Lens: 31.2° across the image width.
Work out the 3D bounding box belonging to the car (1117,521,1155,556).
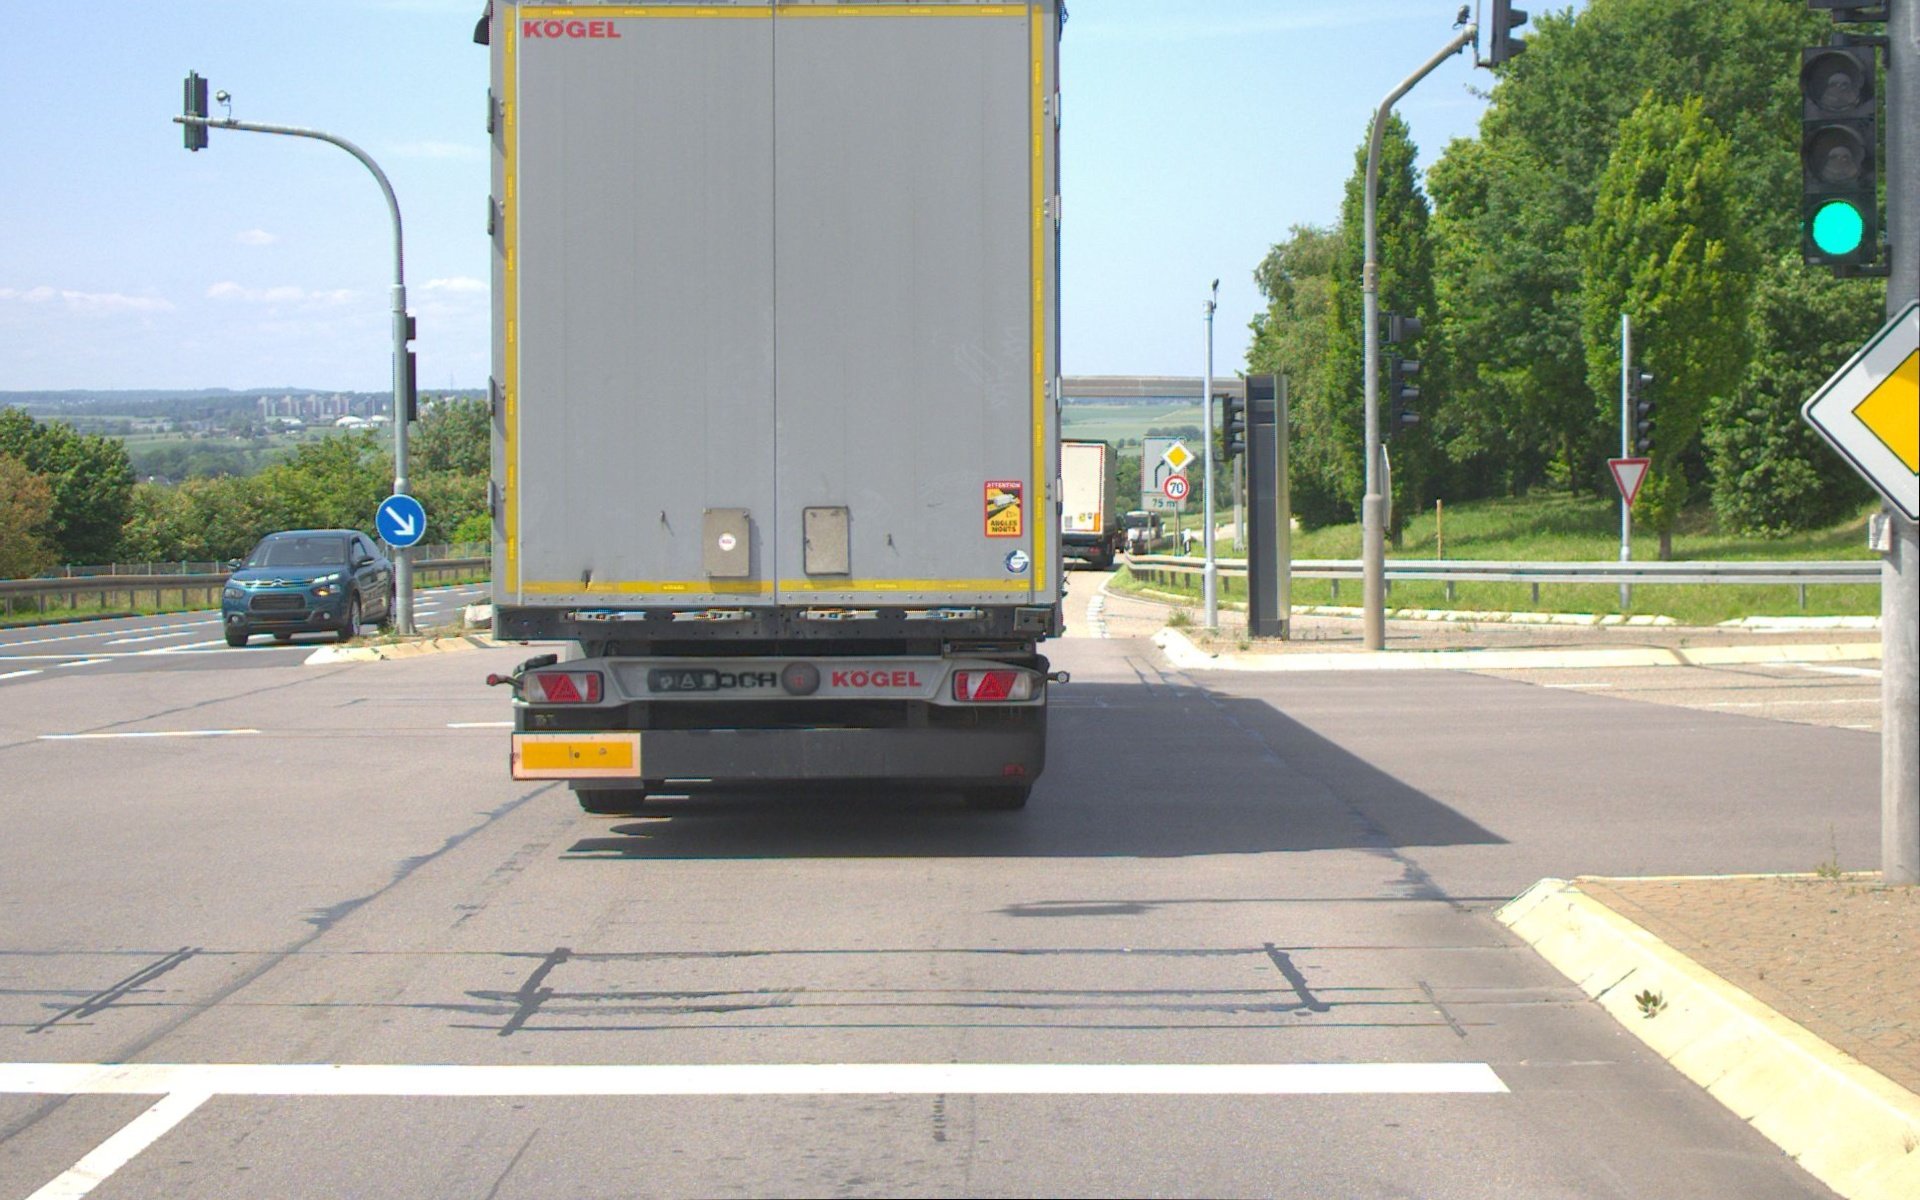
[{"bbox_3d":[8.599,-2.979,167.567,1.786,1.682,4.000,1,1,4],"label":"car"}]

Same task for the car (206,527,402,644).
[{"bbox_3d":[-8.750,-0.235,46.145,1.755,1.464,4.196,-1,1,1],"label":"car"}]

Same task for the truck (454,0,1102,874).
[{"bbox_3d":[-1.114,-0.896,20.666,2.799,3.916,11.343,0,1,-3],"label":"truck"}]

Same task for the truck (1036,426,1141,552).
[{"bbox_3d":[4.163,-3.443,109.485,2.656,3.751,10.160,1,1,6],"label":"truck"}]
